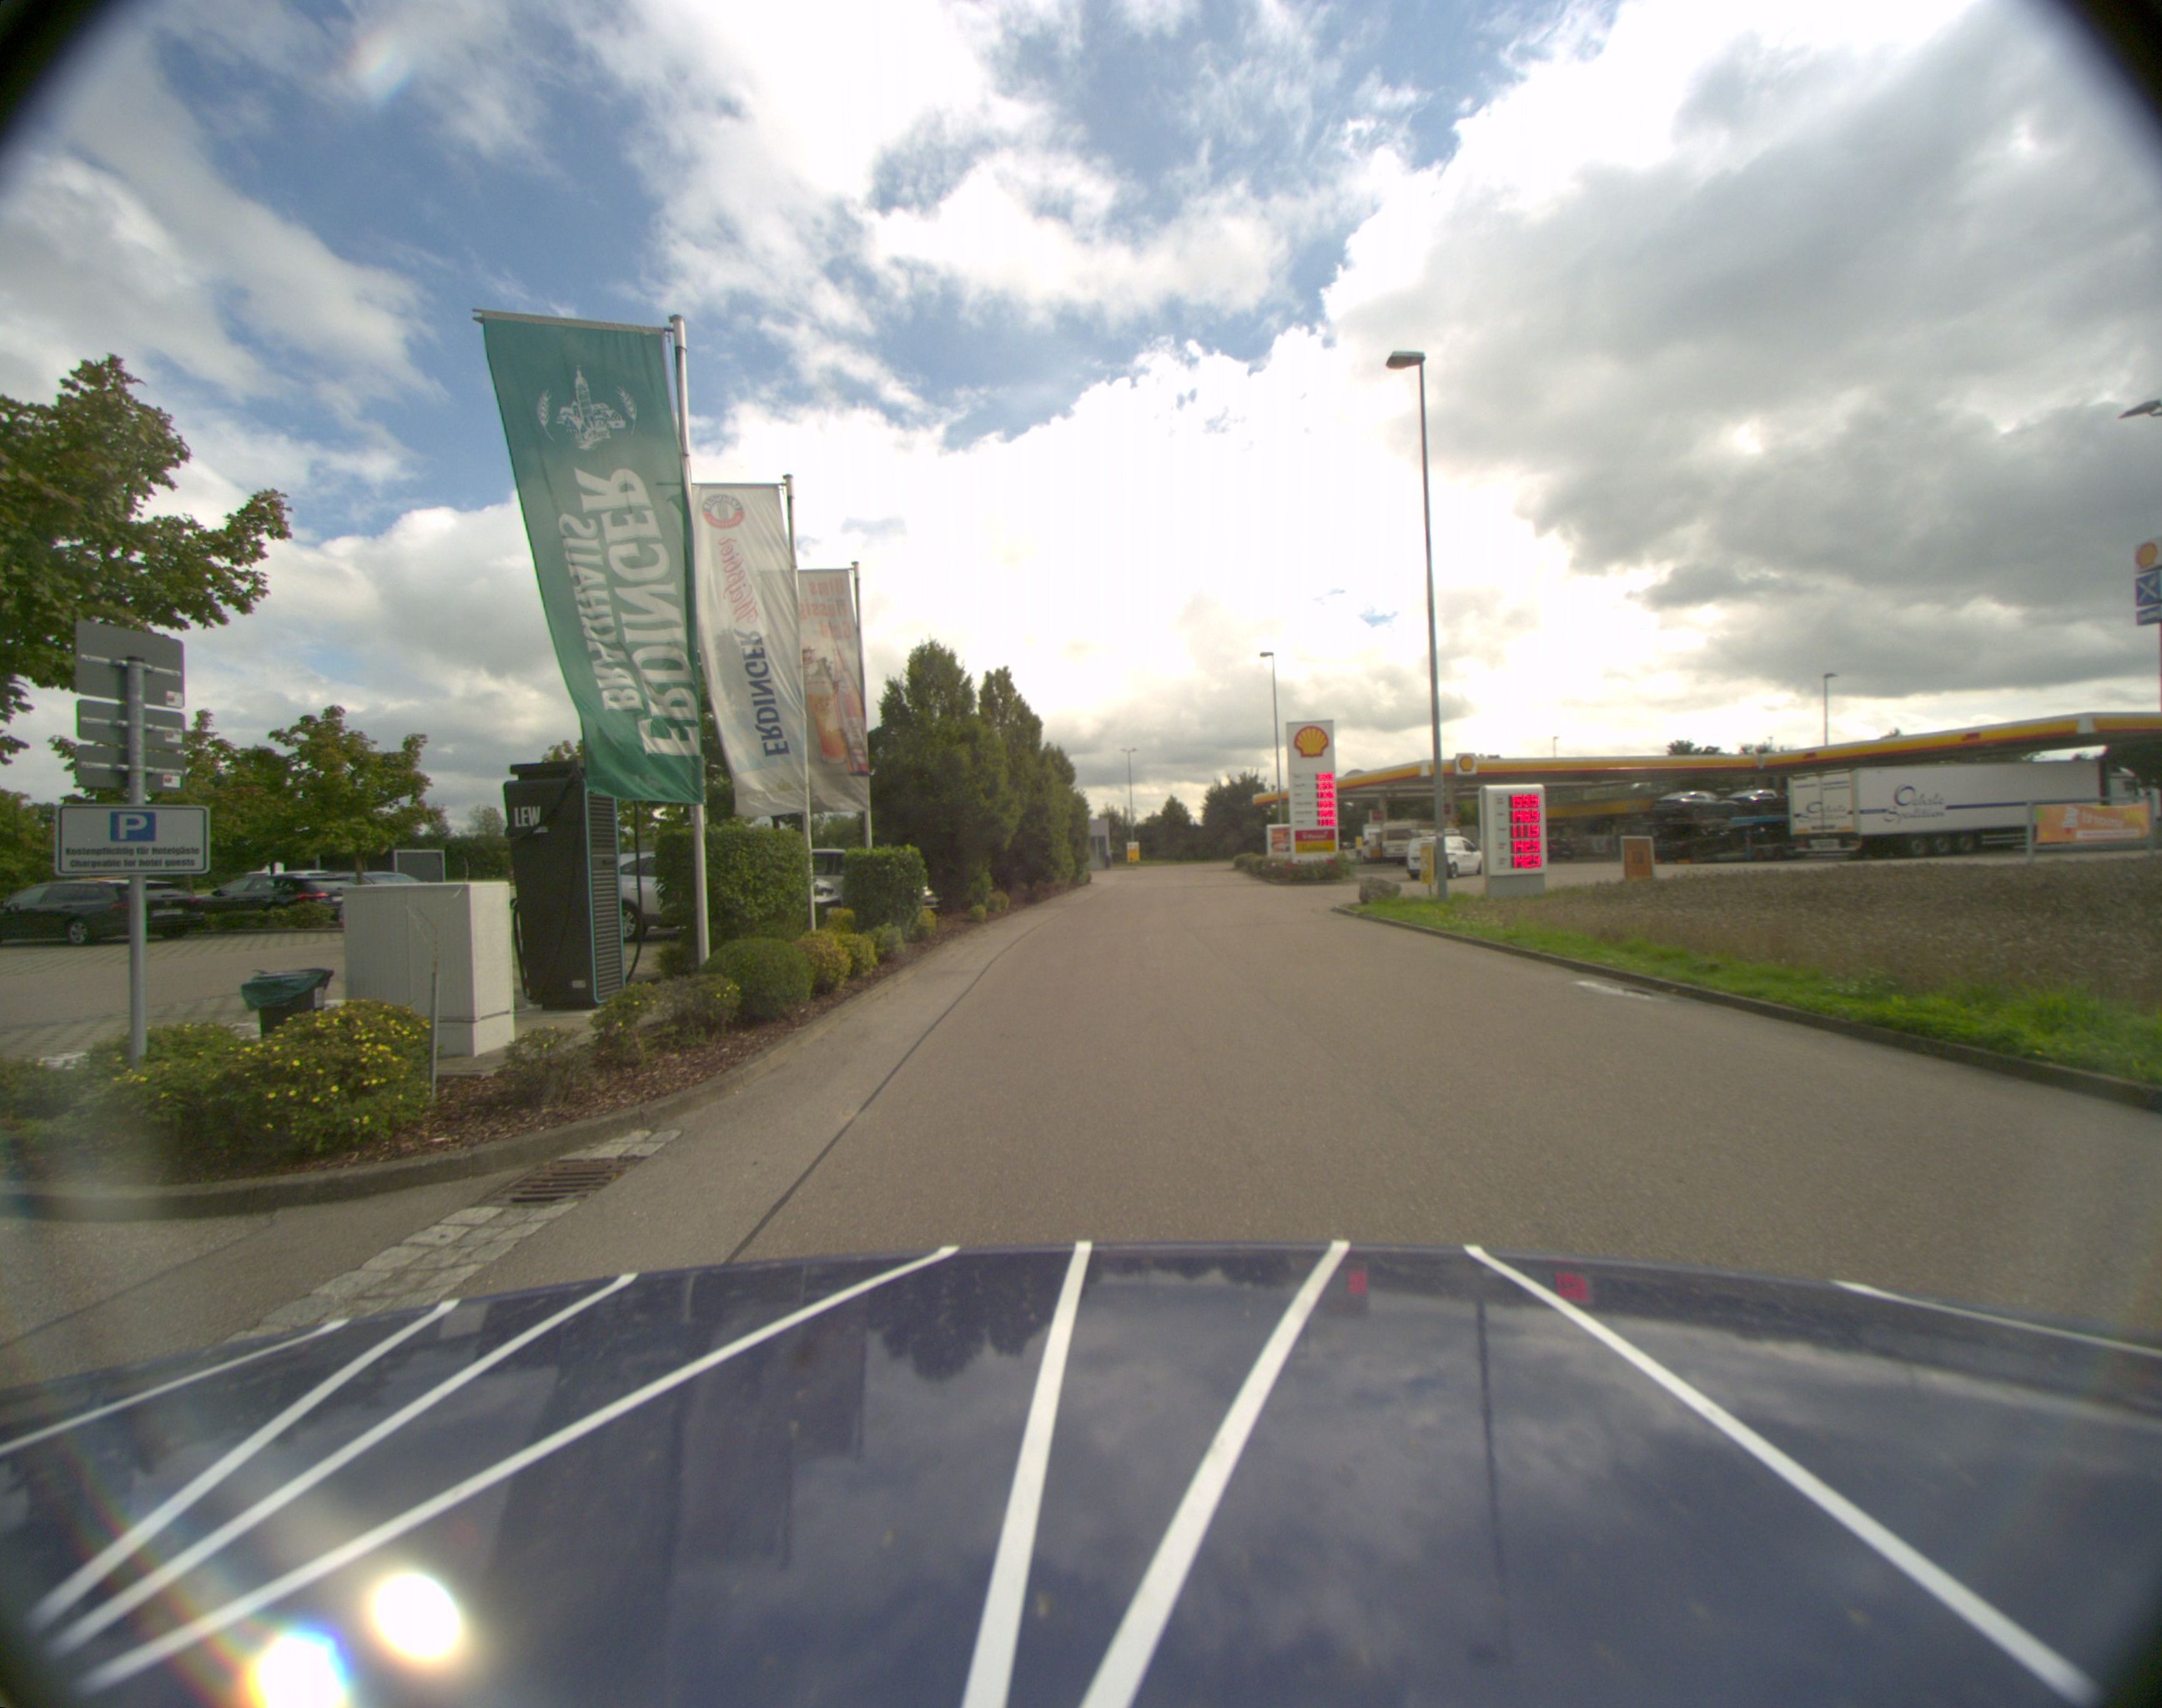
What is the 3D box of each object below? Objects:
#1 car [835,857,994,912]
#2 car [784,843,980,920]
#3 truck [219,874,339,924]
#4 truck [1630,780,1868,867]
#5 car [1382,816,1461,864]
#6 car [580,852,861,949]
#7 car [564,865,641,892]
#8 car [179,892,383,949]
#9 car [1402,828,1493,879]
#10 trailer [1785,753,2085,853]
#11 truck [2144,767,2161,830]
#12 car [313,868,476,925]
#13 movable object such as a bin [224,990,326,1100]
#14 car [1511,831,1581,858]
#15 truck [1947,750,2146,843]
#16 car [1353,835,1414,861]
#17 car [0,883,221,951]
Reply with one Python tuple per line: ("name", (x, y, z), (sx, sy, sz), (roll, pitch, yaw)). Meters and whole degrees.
("car", (-4.650, 0.840, 21.496), (3.995, 1.342, 1.726), (-2, 0, 6))
("car", (-4.905, 0.670, 18.987), (4.358, 1.706, 1.658), (-2, 0, 8))
("truck", (-74.929, 4.082, 71.325), (1.998, 4.097, 8.548), (-2, 0, 0))
("truck", (34.445, -1.643, 39.049), (13.267, 3.901, 2.748), (-3, 2, -18))
("car", (21.369, -0.893, 47.592), (5.819, 2.770, 2.218), (-2, 0, -42))
("car", (-6.935, 0.864, 14.825), (4.672, 1.687, 1.920), (-1, 1, 11))
("car", (-31.136, 1.583, 49.557), (1.713, 1.510, 4.005), (-2, 0, 17))
("car", (-22.518, 1.850, 21.460), (4.270, 1.338, 1.722), (-2, 0, 8))
("car", (15.720, -0.037, 32.536), (3.888, 2.000, 1.792), (-2, 0, -35))
("trailer", (39.021, -2.328, 34.750), (12.848, 4.001, 2.710), (-2, 0, -10))
("truck", (68.384, -3.439, 44.164), (2.955, 4.089, 14.775), (-1, 2, 35))
("car", (-21.693, 1.336, 24.045), (3.992, 1.561, 2.002), (-2, 0, 17))
("movable object such as a bin", (-5.635, 1.324, 5.322), (0.288, 0.680, 0.368), (-2, 0, 12))
("car", (30.383, -0.589, 49.731), (1.717, 1.592, 3.757), (-3, 0, -14))
("truck", (45.617, -2.664, 35.966), (7.169, 4.001, 2.710), (-2, 0, -10))
("car", (20.421, -0.397, 51.295), (3.968, 1.550, 1.995), (-2, 0, -37))
("car", (-22.885, 1.449, 17.641), (4.270, 1.338, 1.722), (-2, 0, 8))
